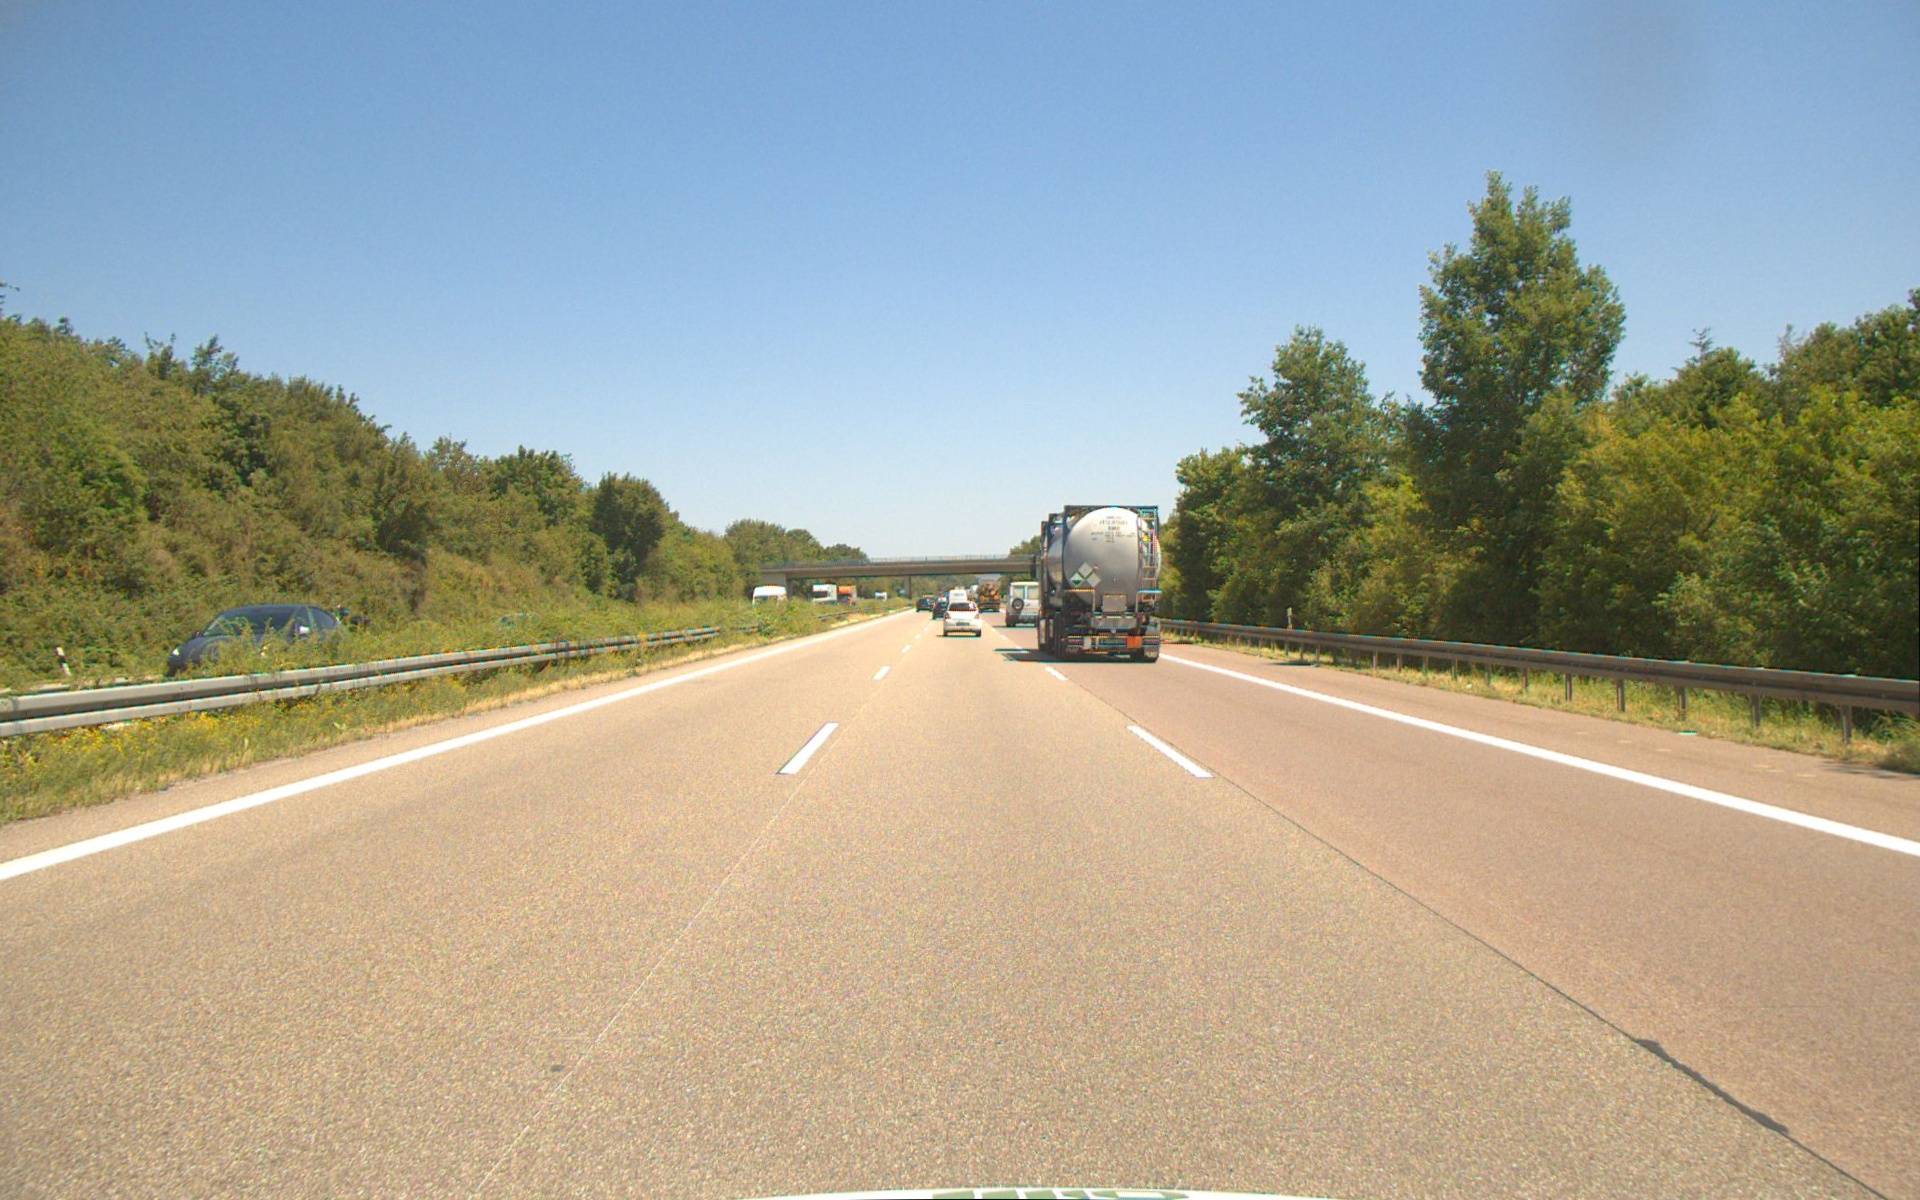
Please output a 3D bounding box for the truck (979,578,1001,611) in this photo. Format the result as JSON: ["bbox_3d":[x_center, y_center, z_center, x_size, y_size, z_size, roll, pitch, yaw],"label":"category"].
[{"bbox_3d":[3.763,-0.731,207.555,2.615,4.064,6.636,0,0,1],"label":"truck"}]

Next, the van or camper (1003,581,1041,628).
[{"bbox_3d":[3.713,0.254,100.213,2.070,2.750,6.367,0,0,0],"label":"van or camper"}]

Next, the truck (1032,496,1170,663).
[{"bbox_3d":[3.833,-0.492,48.145,2.741,4.117,13.353,1,0,0],"label":"truck"}]

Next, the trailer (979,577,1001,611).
[{"bbox_3d":[3.642,-0.681,200.300,2.598,4.028,13.637,0,0,1],"label":"trailer"}]

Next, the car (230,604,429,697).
[{"bbox_3d":[-12.020,0.905,31.932,1.953,1.594,5.043,-1,0,-1],"label":"car"}]

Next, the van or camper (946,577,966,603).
[{"bbox_3d":[-0.361,-0.985,174.099,2.016,2.668,5.985,0,0,1],"label":"van or camper"}]

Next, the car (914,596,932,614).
[{"bbox_3d":[-4.273,0.583,193.214,2.010,2.049,4.175,1,0,-1],"label":"car"}]

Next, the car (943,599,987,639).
[{"bbox_3d":[0.194,0.825,72.738,1.819,1.681,3.999,1,0,-1],"label":"car"}]

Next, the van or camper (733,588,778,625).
[{"bbox_3d":[-13.995,0.436,113.644,2.376,2.407,6.335,1,0,-1],"label":"van or camper"}]
